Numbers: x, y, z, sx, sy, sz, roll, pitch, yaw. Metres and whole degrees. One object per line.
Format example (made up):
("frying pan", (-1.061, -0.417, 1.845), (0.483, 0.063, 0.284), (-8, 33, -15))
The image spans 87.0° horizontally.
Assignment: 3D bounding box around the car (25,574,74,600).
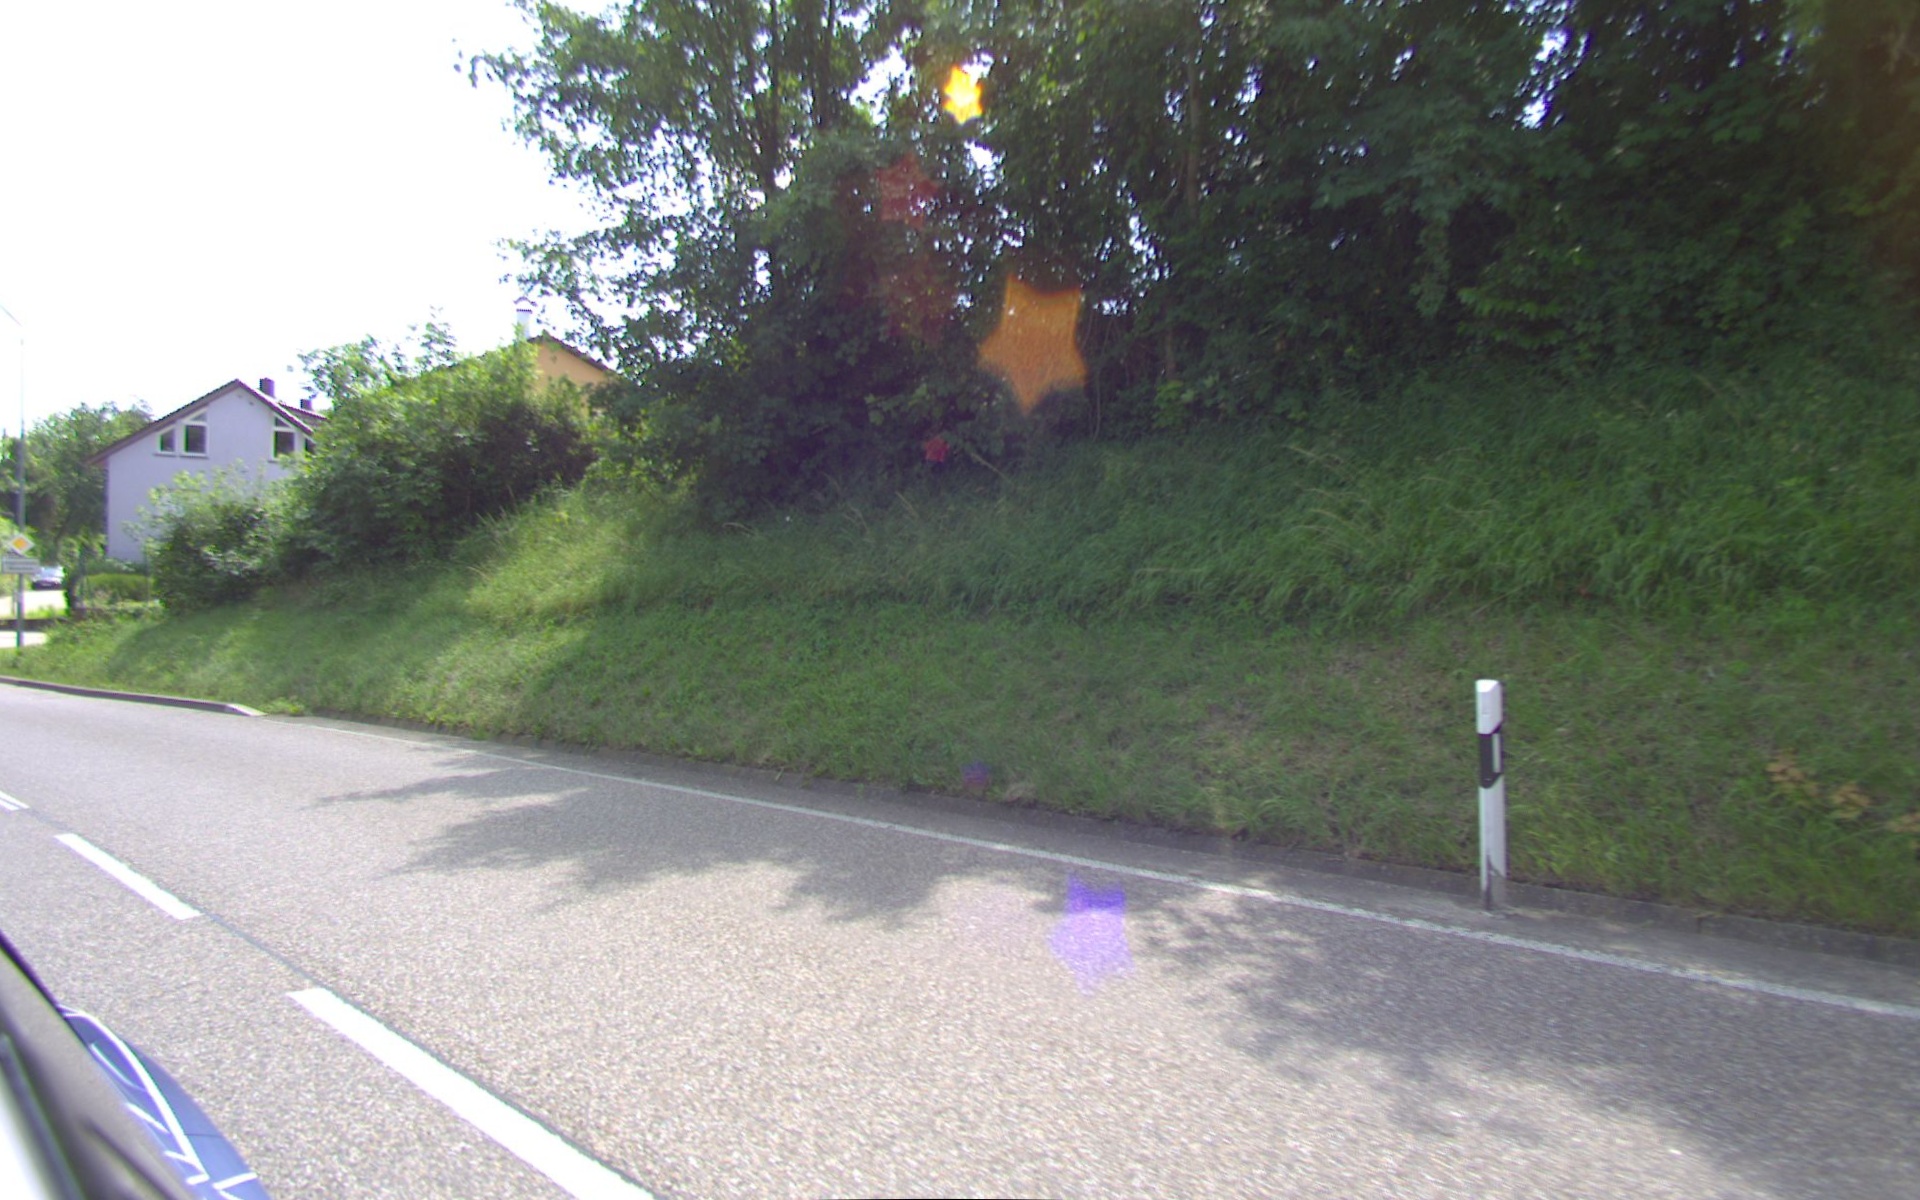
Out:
("car", (-63.400, -0.872, 70.446), (4.388, 1.655, 1.832), (0, 3, 40))
